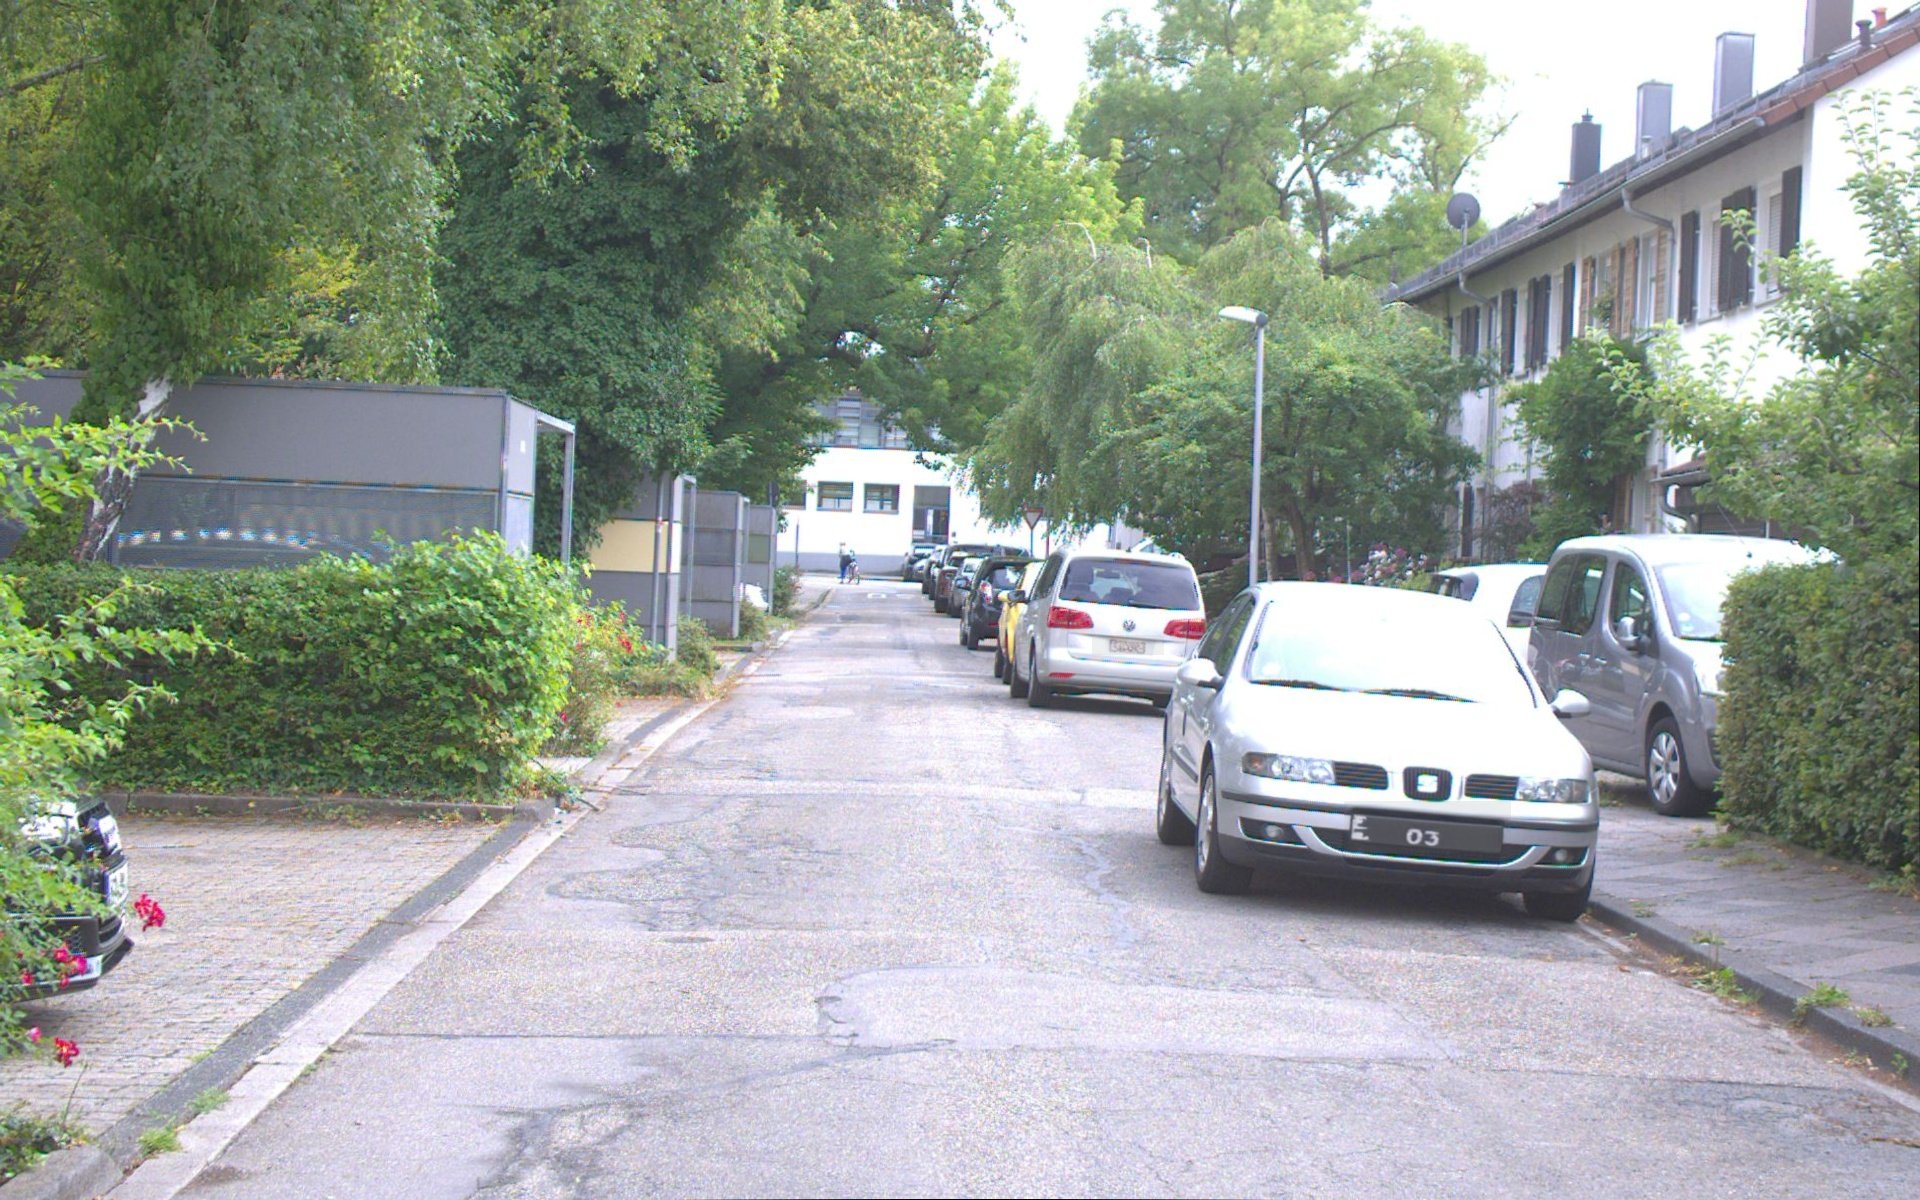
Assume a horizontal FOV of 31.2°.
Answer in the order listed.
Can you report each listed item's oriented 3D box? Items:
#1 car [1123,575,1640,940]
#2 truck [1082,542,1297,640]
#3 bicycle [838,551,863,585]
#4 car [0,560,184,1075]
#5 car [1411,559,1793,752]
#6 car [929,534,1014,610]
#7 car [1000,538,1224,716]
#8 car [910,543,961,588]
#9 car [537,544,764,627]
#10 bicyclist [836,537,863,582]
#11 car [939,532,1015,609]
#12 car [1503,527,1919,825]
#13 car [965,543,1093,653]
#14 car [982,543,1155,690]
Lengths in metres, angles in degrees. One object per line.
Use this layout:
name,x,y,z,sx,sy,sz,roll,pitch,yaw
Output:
car,1.881,0.647,16.653,1.825,1.365,4.331,4,1,-1
truck,4.886,-0.208,73.705,4.390,2.007,2.000,1,1,-2
bicycle,-3.848,-1.110,120.656,0.689,1.127,2.579,4,1,1
car,-4.600,0.519,10.064,4.323,1.371,1.923,2,1,-7
car,5.373,0.447,29.025,2.816,1.564,1.741,0,1,-3
car,0.250,-0.671,80.438,1.825,1.576,4.000,4,1,-1
car,1.494,0.228,35.232,1.825,1.576,4.001,4,1,-3
car,-0.958,-1.342,133.083,1.825,1.576,4.000,4,1,-1
car,-5.667,-0.272,63.326,4.031,1.389,1.738,2,1,-2
bicyclist,-3.892,-1.431,120.661,0.798,1.506,0.934,4,0,1
car,0.427,-0.801,92.199,1.825,1.877,4.000,4,1,-1
car,5.008,0.435,22.696,1.825,1.771,4.341,0,0,-5
car,1.077,-0.060,55.422,1.825,1.576,4.193,4,1,-1
car,1.275,0.164,41.968,1.825,1.576,4.000,4,1,-1
